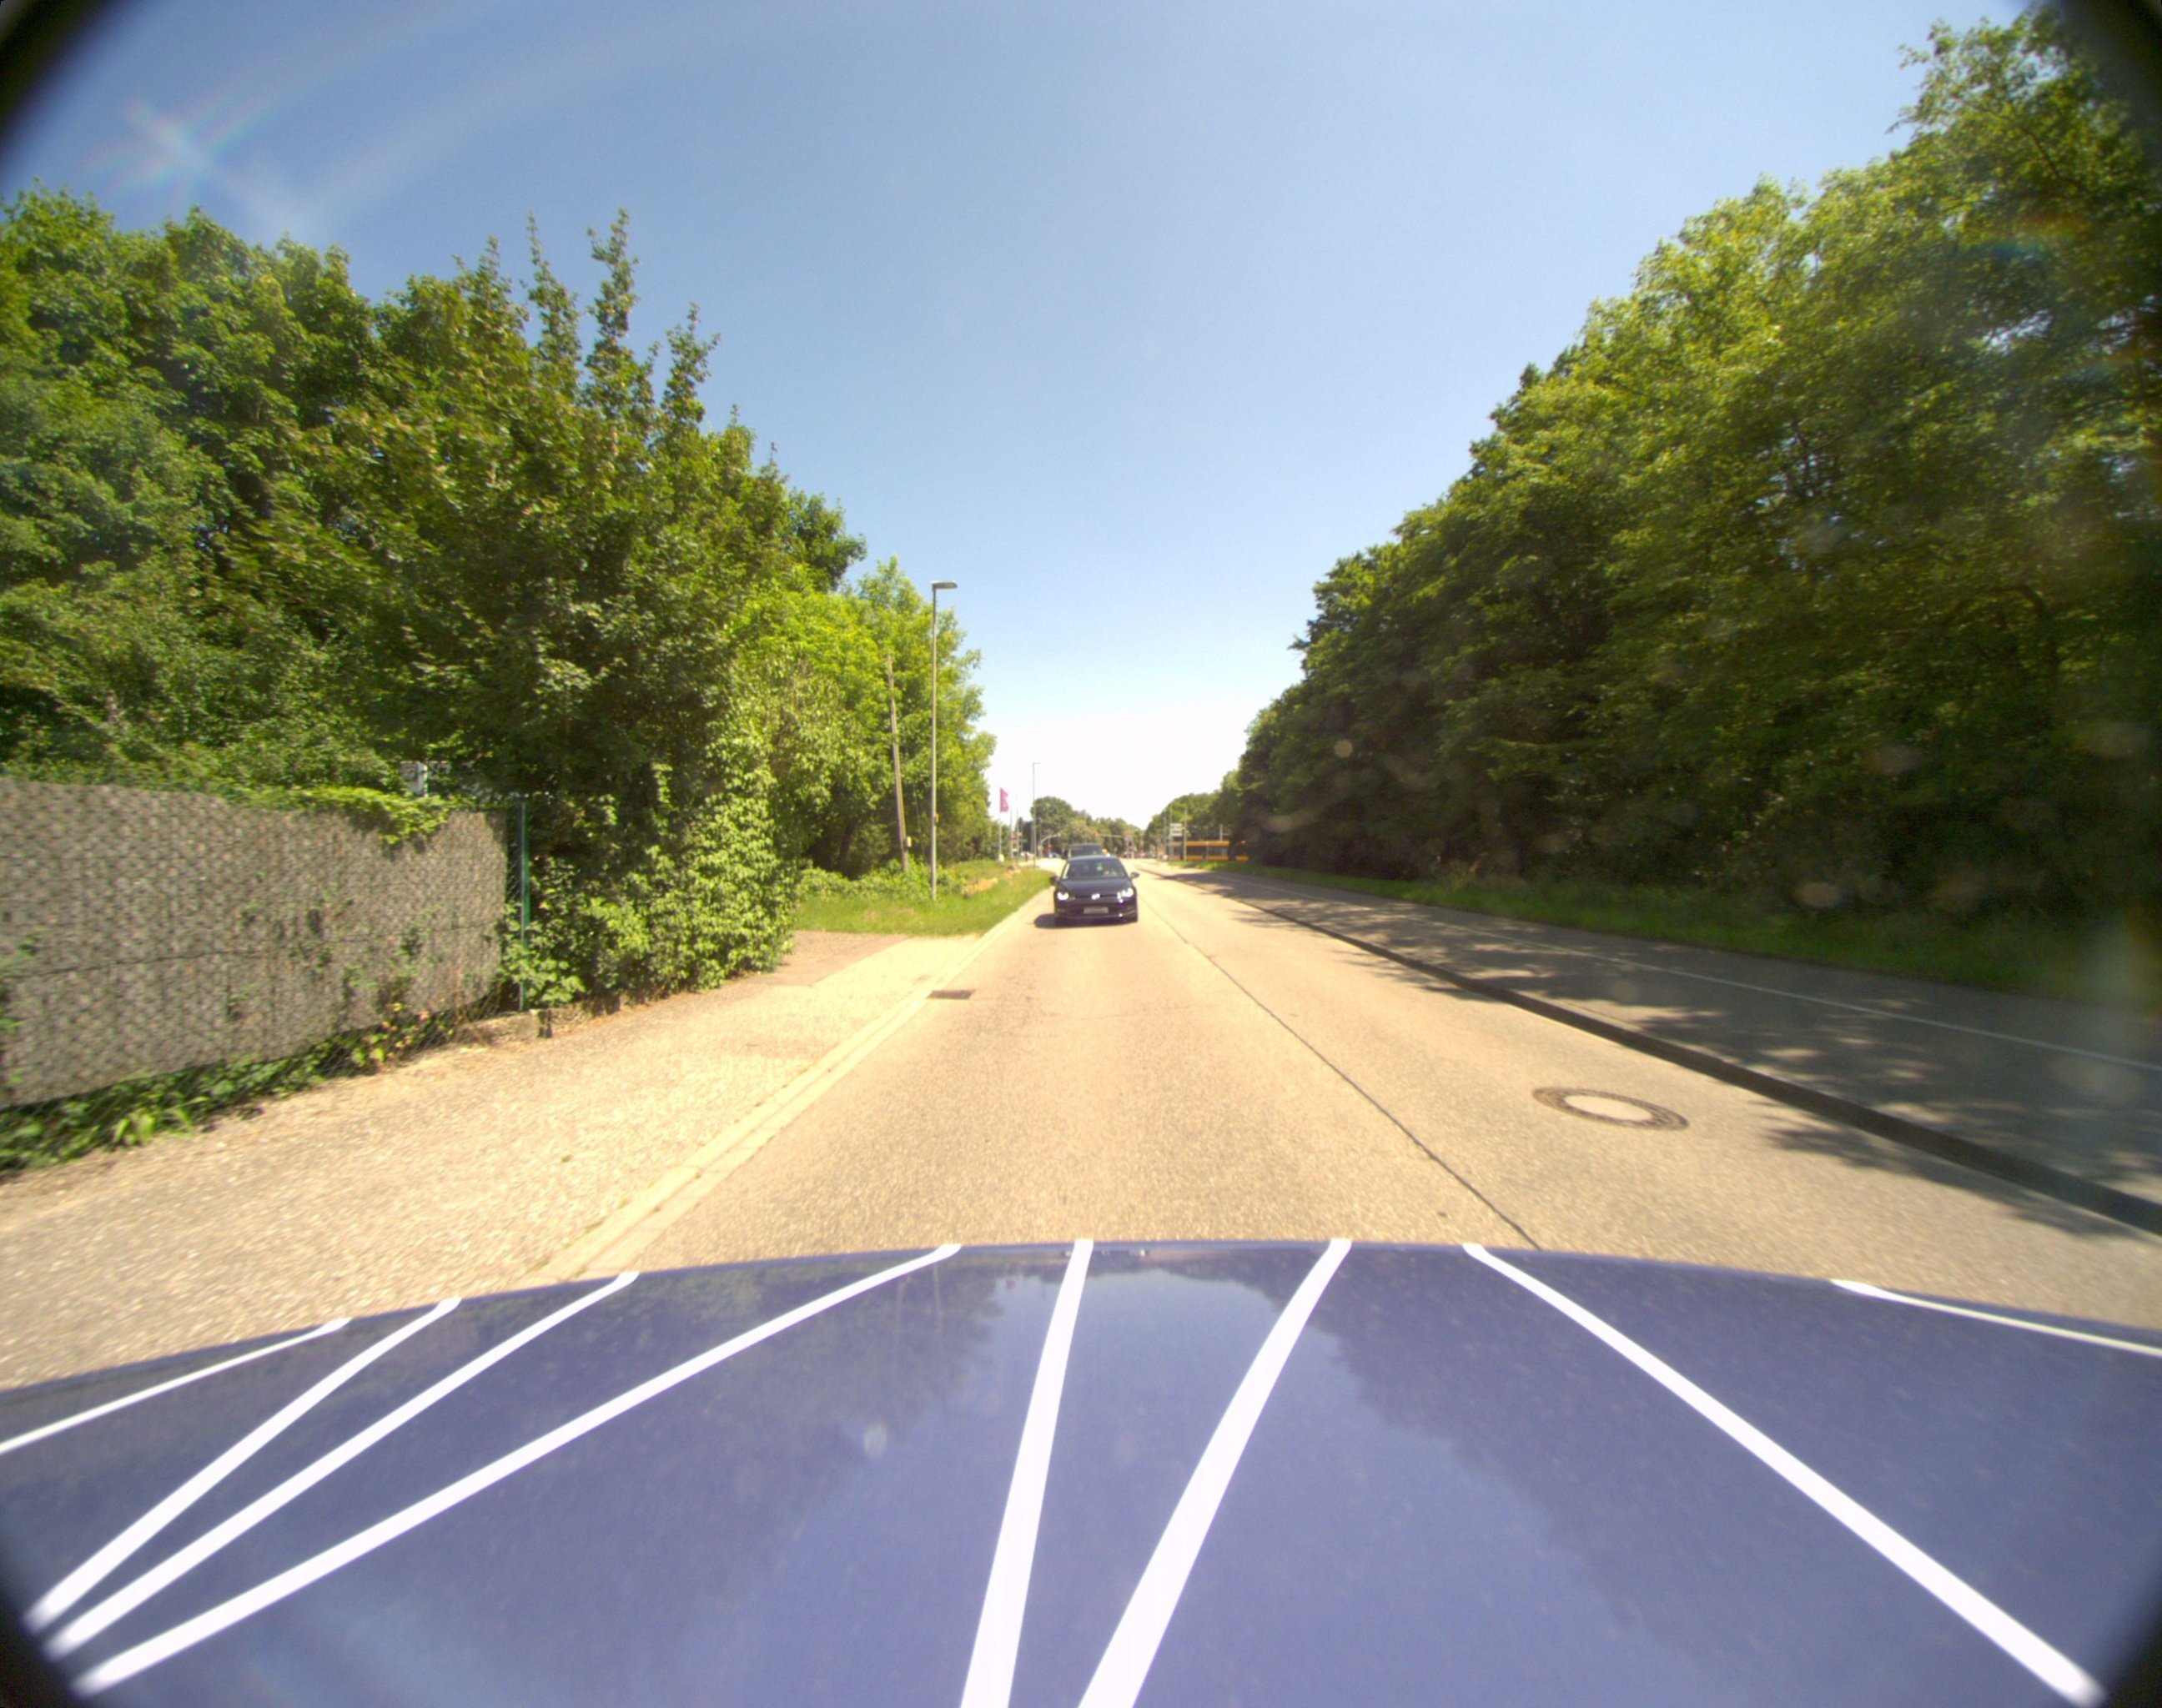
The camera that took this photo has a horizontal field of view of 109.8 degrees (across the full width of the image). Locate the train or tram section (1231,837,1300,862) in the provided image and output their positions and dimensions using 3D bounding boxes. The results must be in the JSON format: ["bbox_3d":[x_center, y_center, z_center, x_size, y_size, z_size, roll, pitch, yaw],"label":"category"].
[{"bbox_3d":[26.690,-0.676,110.178,9.326,3.446,2.788,-1,1,33],"label":"train or tram section"}]

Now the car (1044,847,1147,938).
[{"bbox_3d":[0.343,0.719,16.551,1.887,1.668,4.663,-1,0,2],"label":"car"}]

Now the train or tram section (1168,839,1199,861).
[{"bbox_3d":[16.939,-0.644,126.519,2.579,3.446,10.847,0,0,-7],"label":"train or tram section"}]

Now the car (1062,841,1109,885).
[{"bbox_3d":[0.163,0.394,36.291,2.002,1.965,4.449,-1,0,-2],"label":"car"}]

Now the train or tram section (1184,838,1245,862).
[{"bbox_3d":[20.386,-0.610,116.754,2.655,3.446,10.827,-1,1,-32],"label":"train or tram section"}]

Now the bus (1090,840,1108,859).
[{"bbox_3d":[3.113,-0.827,133.973,2.931,3.248,8.329,-1,0,1],"label":"bus"}]
